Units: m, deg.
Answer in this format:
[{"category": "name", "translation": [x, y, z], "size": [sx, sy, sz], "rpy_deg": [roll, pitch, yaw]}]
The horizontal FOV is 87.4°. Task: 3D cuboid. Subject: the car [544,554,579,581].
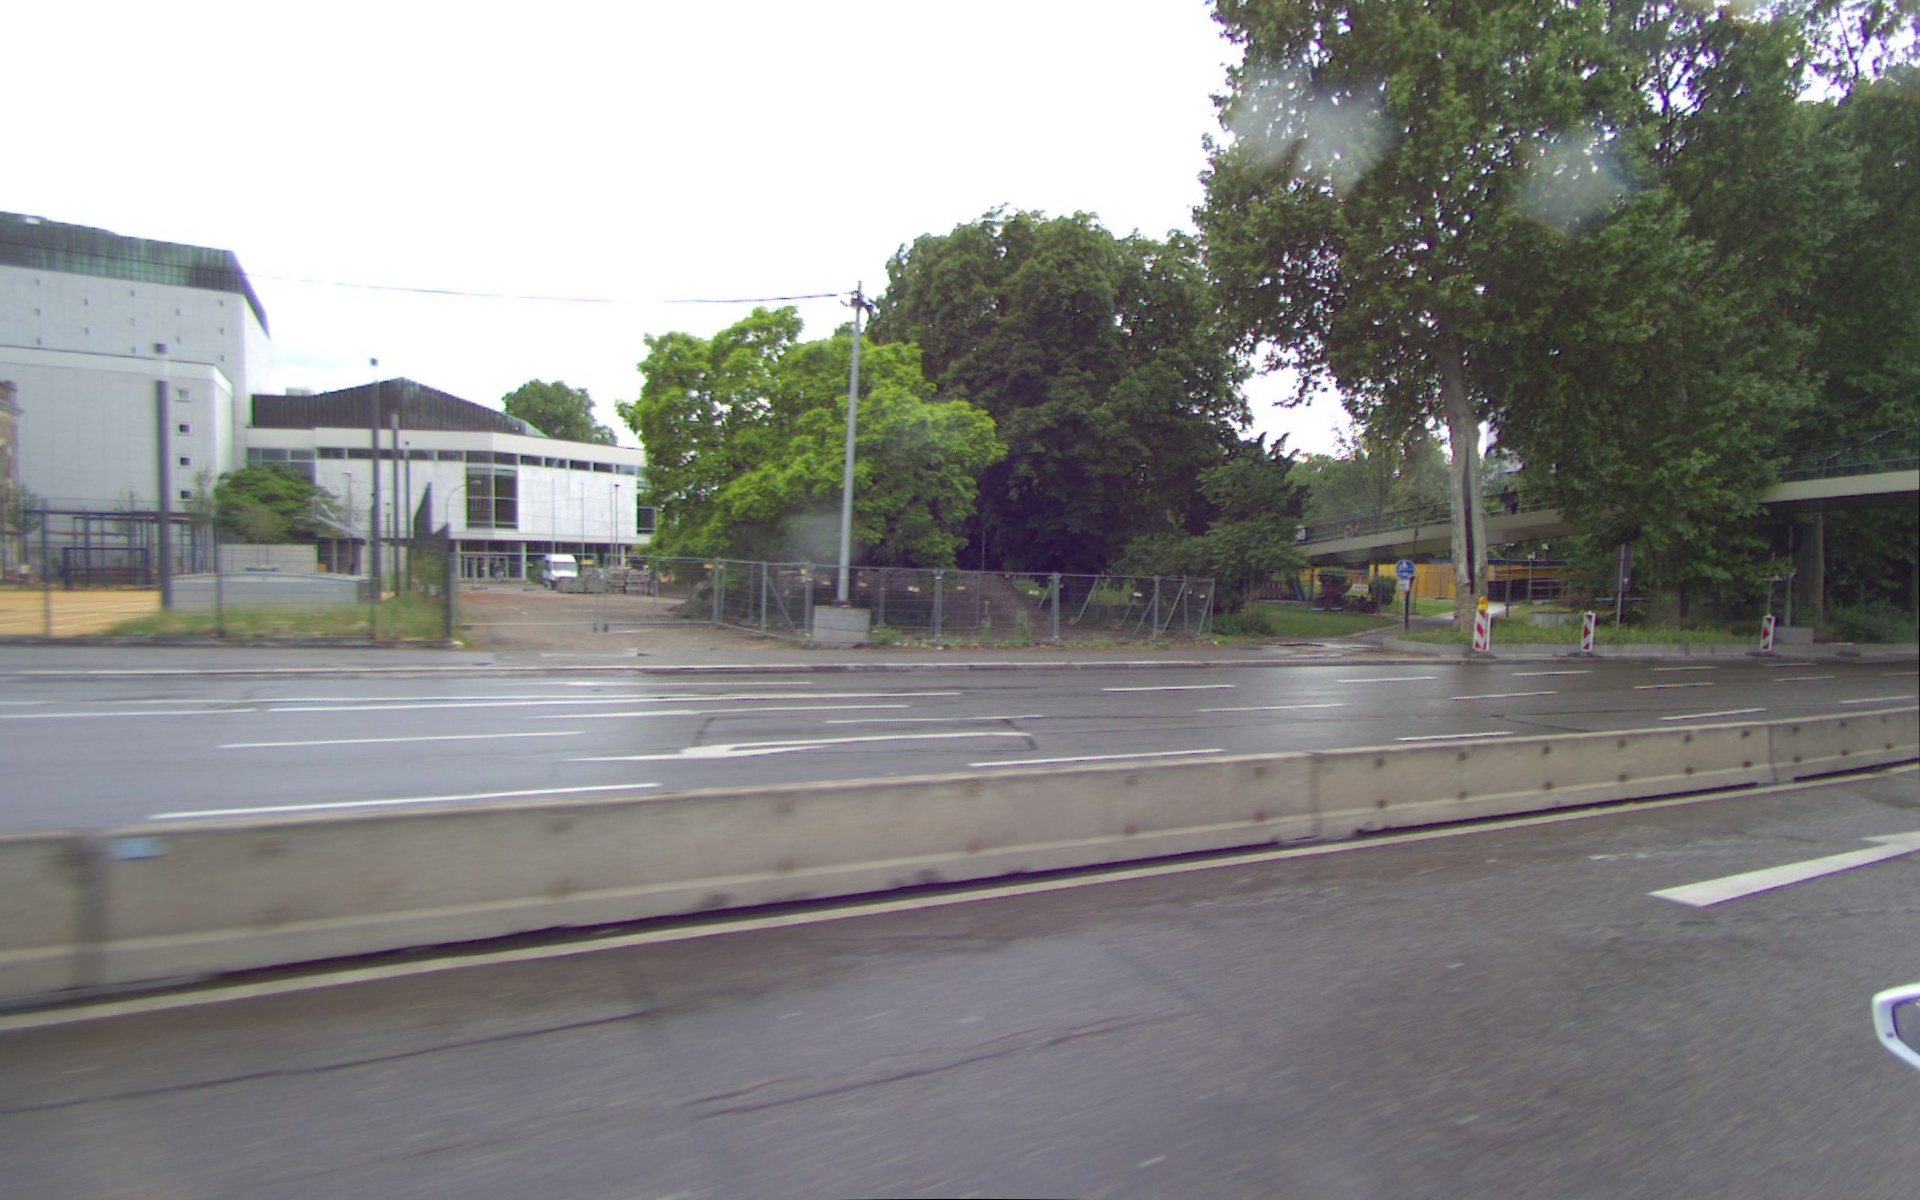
[{"category": "car", "translation": [-30.003, -2.477, 75.527], "size": [1.698, 1.817, 3.965], "rpy_deg": [3, 1, -32]}]
